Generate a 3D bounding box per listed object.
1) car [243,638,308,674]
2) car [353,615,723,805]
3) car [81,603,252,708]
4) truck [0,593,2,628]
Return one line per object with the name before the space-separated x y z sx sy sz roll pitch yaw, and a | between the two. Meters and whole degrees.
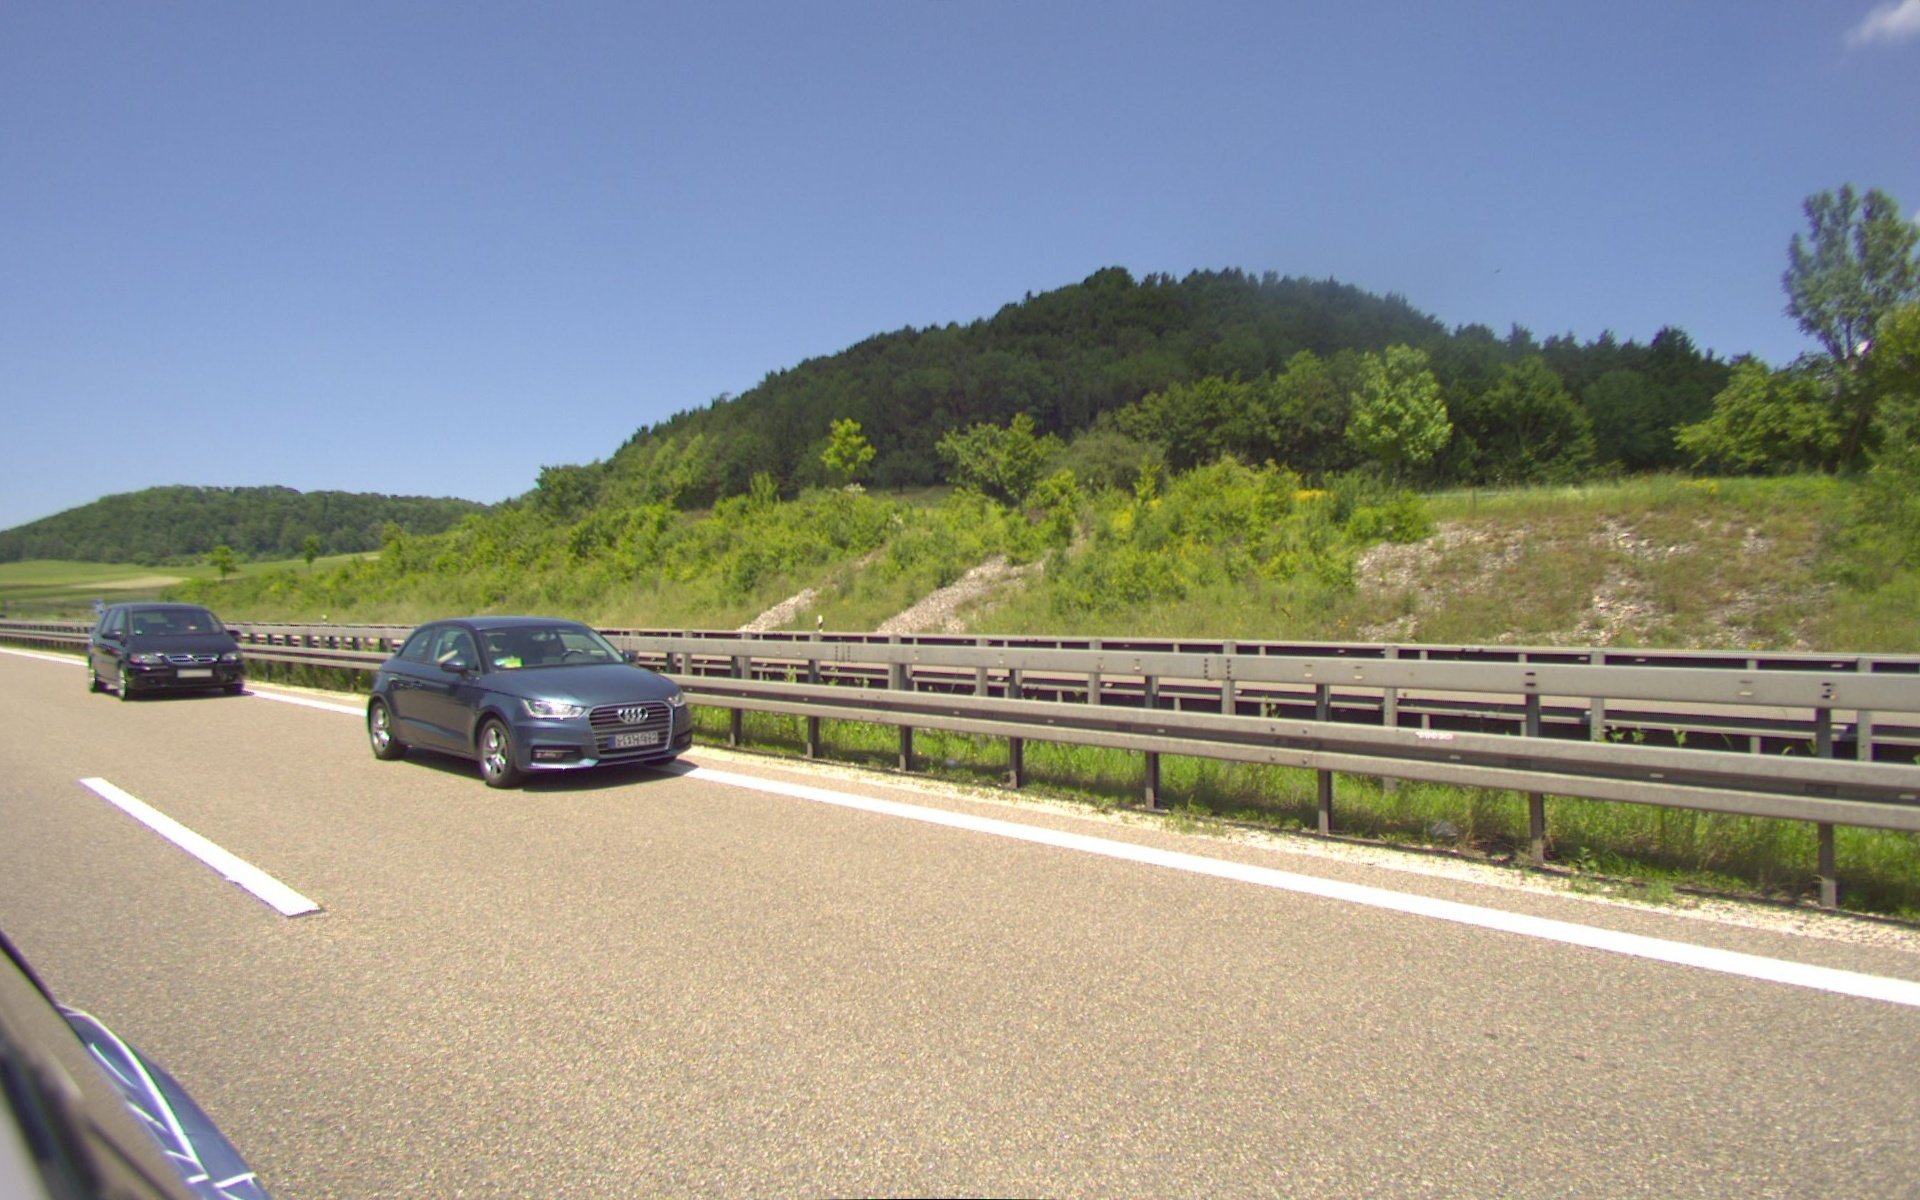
car | -36.931 2.988 54.561 3.998 1.725 1.973 0 0 41
car | -4.074 0.846 9.466 3.999 1.399 1.670 -1 -1 42
car | -14.240 0.914 18.071 4.446 1.647 1.781 -1 -1 44
truck | -118.569 1.264 121.986 9.917 4.134 3.580 -1 -1 41
